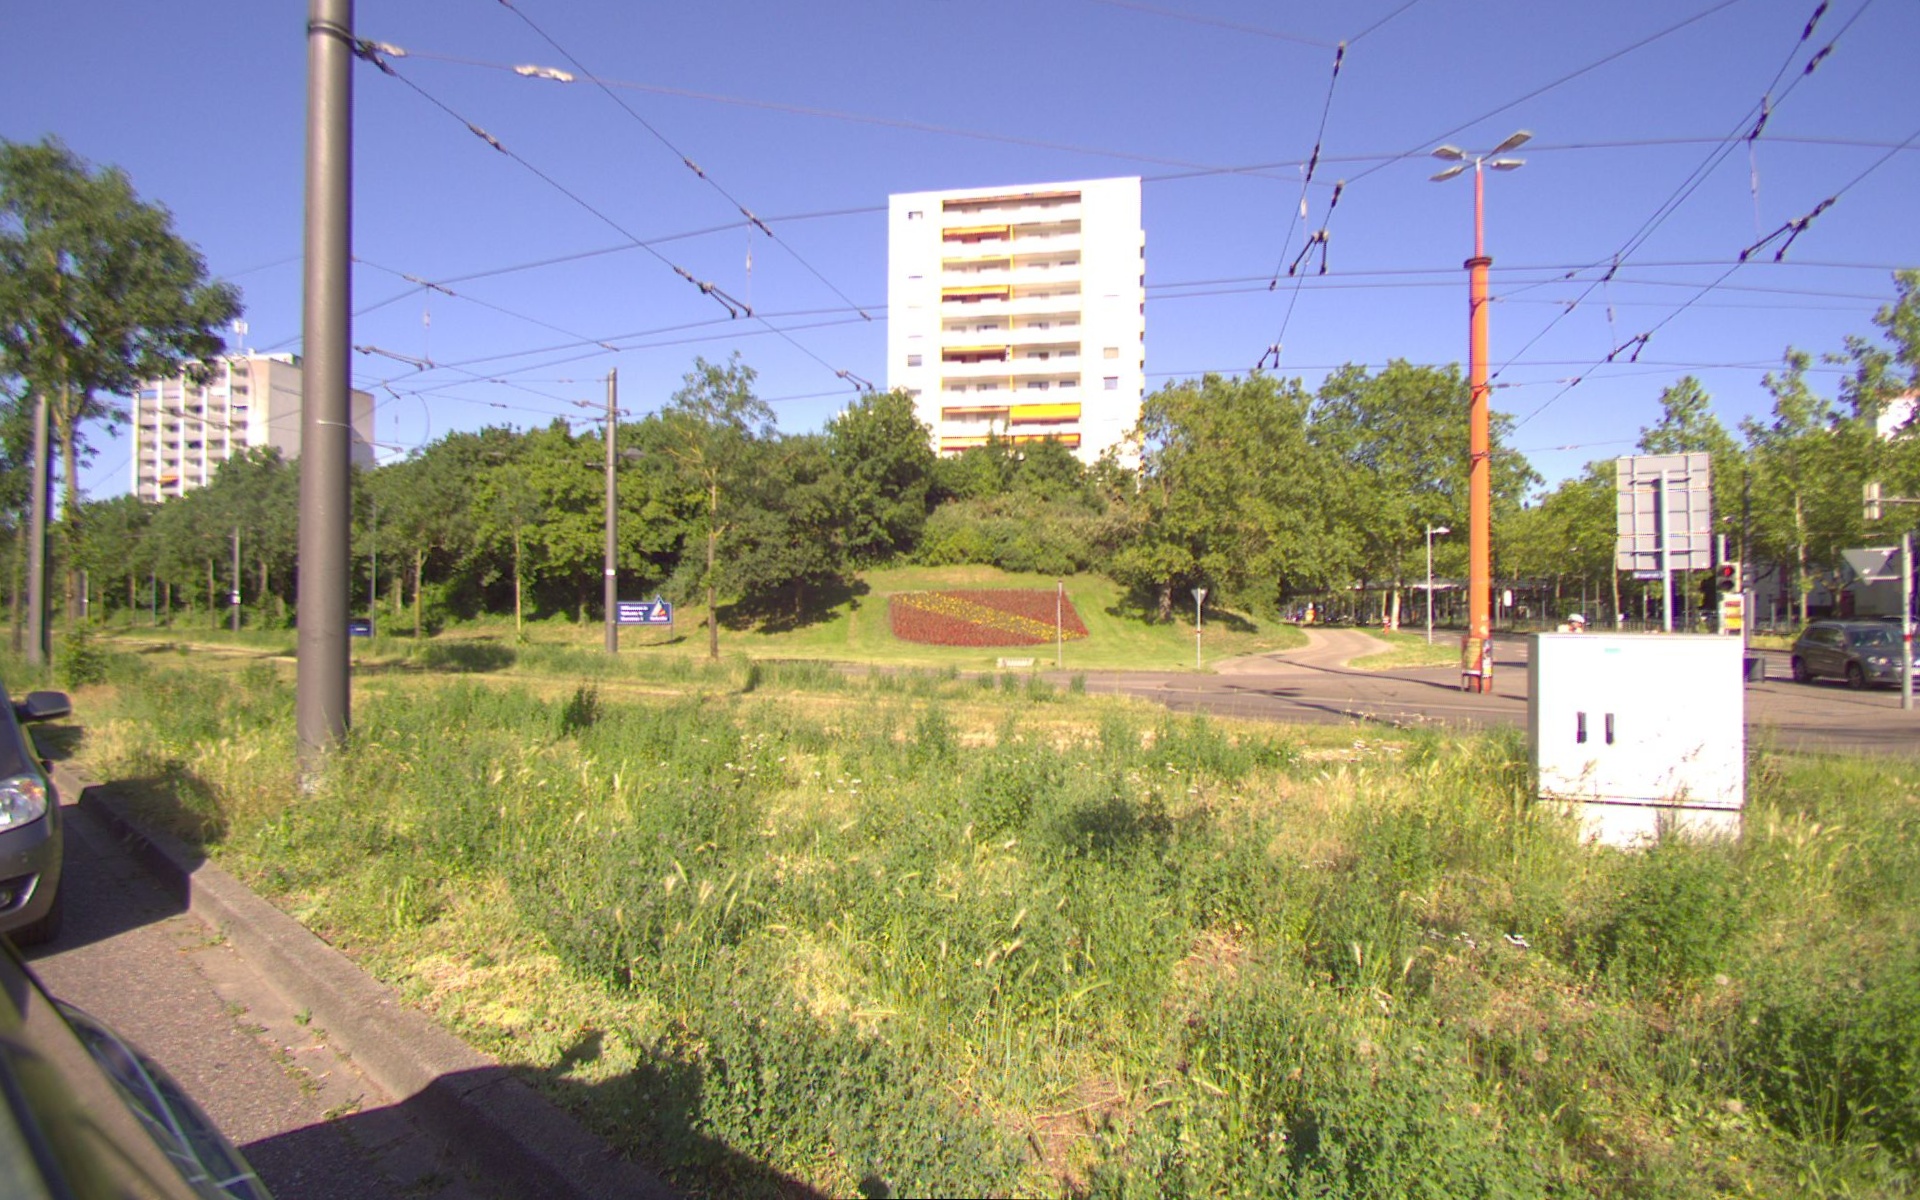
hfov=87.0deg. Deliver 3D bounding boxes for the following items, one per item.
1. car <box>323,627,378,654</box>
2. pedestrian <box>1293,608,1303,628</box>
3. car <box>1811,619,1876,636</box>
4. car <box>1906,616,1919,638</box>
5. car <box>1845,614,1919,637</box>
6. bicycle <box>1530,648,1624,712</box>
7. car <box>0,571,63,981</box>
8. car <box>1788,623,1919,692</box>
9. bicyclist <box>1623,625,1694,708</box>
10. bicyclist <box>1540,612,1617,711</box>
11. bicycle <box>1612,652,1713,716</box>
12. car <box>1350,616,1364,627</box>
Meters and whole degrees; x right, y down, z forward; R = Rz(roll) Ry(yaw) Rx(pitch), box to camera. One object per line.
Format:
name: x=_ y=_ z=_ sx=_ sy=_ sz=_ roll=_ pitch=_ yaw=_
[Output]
car: x=-33.878 y=2.219 z=56.191 sx=3.908 sy=1.431 sz=1.557 roll=-2 pitch=-1 yaw=42
pedestrian: x=26.773 y=1.436 z=80.197 sx=0.682 sy=1.568 sz=0.983 roll=-1 pitch=-1 yaw=24
car: x=64.414 y=1.974 z=73.847 sx=1.425 sy=1.197 sz=3.423 roll=-1 pitch=0 yaw=-41
car: x=63.695 y=1.763 z=65.163 sx=1.472 sy=1.341 sz=3.746 roll=-1 pitch=0 yaw=-27
car: x=63.810 y=1.729 z=69.995 sx=1.589 sy=1.471 sz=3.656 roll=-1 pitch=0 yaw=-38
bicycle: x=12.080 y=1.542 z=19.887 sx=0.571 sy=1.079 sz=1.917 roll=-1 pitch=0 yaw=-3
car: x=-5.812 y=0.749 z=4.886 sx=3.998 sy=1.652 sz=1.726 roll=-1 pitch=0 yaw=41
car: x=23.027 y=1.385 z=25.416 sx=1.900 sy=1.507 sz=4.026 roll=-1 pitch=0 yaw=15
bicyclist: x=13.503 y=1.259 z=19.584 sx=0.710 sy=1.536 sz=0.924 roll=-1 pitch=0 yaw=0
bicyclist: x=12.126 y=1.186 z=19.870 sx=0.880 sy=1.881 sz=0.924 roll=-1 pitch=0 yaw=-2
bicycle: x=13.515 y=1.589 z=19.535 sx=0.571 sy=1.079 sz=1.916 roll=-1 pitch=0 yaw=0
car: x=58.234 y=3.181 z=148.514 sx=1.904 sy=1.507 sz=3.973 roll=-1 pitch=0 yaw=20
